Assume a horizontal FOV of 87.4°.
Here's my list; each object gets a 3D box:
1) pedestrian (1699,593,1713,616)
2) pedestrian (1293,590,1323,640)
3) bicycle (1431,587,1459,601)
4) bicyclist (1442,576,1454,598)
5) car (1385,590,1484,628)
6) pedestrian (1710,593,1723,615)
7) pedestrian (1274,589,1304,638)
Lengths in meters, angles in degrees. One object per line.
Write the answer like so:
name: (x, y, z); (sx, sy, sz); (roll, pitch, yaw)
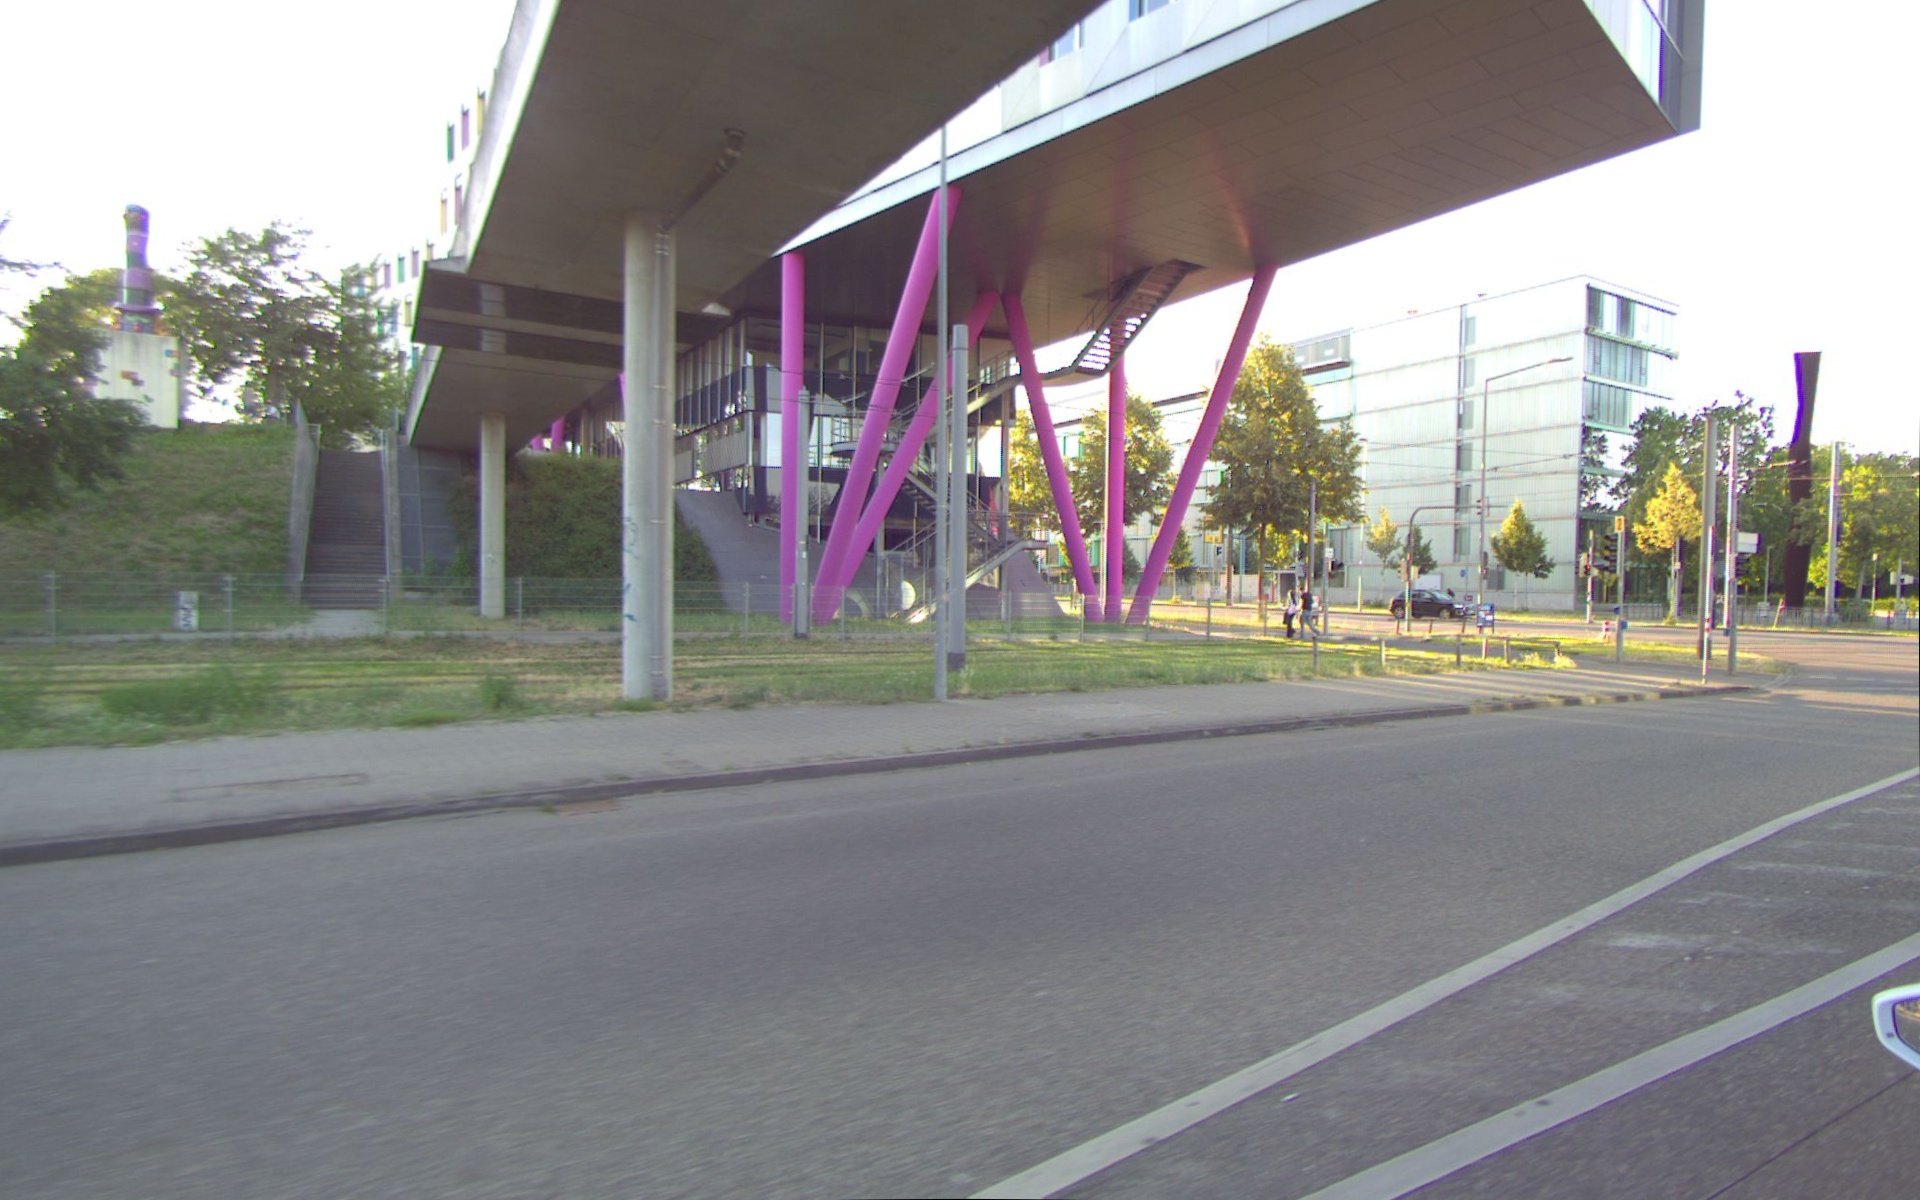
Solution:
pedestrian: (69.488, 0.412, 93.546); (0.686, 2.041, 0.696); (0, 2, -10)
pedestrian: (11.889, 0.491, 34.330); (0.699, 1.686, 0.701); (0, 2, -13)
bicycle: (39.039, -0.502, 80.870); (1.936, 1.143, 0.558); (1, 2, 35)
bicyclist: (39.230, -1.079, 80.720); (0.747, 1.746, 0.550); (1, 2, 35)
car: (25.005, 0.439, 53.077); (1.923, 1.841, 4.444); (-1, 2, -31)
pedestrian: (70.598, 0.394, 93.763); (0.686, 2.041, 0.696); (0, 2, -10)
pedestrian: (11.172, 0.443, 34.138); (0.699, 1.646, 0.686); (0, 2, -13)
